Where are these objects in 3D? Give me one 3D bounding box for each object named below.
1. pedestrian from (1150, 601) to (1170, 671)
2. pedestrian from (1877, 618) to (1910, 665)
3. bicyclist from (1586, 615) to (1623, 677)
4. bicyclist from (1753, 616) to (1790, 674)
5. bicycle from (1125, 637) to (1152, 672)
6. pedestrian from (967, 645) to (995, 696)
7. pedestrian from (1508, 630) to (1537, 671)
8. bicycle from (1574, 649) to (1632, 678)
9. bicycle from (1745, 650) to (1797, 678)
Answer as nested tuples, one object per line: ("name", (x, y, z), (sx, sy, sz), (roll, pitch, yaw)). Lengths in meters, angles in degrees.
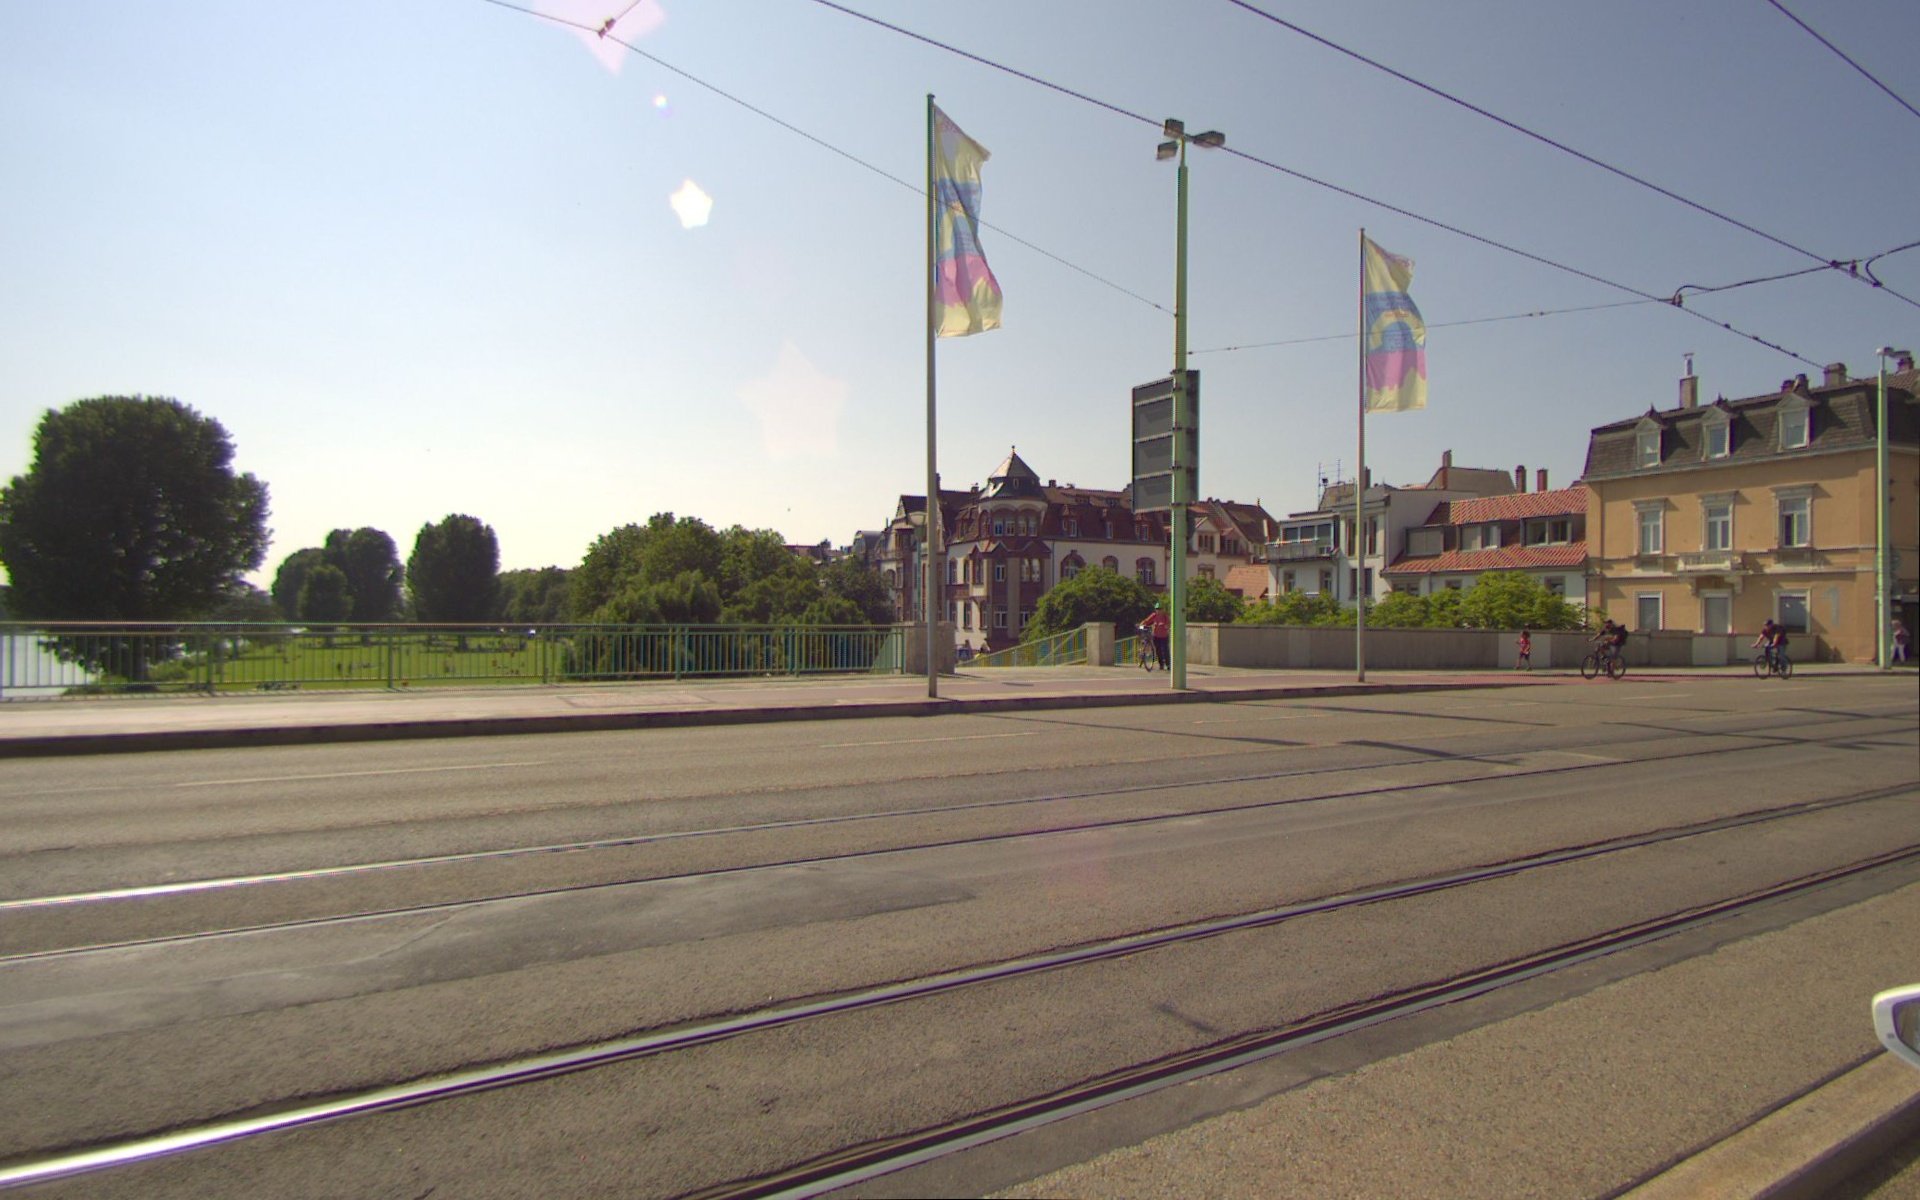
("pedestrian", (4.877, 0.869, 24.496), (0.405, 1.654, 0.628), (2, 1, 9))
("pedestrian", (34.429, 1.519, 37.045), (0.559, 1.624, 0.646), (-1, 5, -29))
("bicyclist", (18.002, 1.266, 28.062), (0.614, 1.672, 0.624), (0, 2, -29))
("bicyclist", (24.071, 1.327, 29.790), (0.614, 1.672, 0.624), (0, 2, -29))
("bicycle", (4.363, 1.323, 24.673), (0.610, 0.726, 1.934), (1, 1, 9))
("pedestrian", (0.765, 2.568, 36.674), (0.791, 1.804, 0.743), (1, -1, -25))
("pedestrian", (16.501, 1.471, 29.478), (0.536, 1.161, 0.411), (2, 3, -20))
("bicycle", (17.962, 1.769, 28.052), (1.750, 0.726, 0.617), (0, 1, -30))
("bicycle", (24.094, 1.890, 29.832), (1.711, 0.726, 0.617), (0, 1, -30))
